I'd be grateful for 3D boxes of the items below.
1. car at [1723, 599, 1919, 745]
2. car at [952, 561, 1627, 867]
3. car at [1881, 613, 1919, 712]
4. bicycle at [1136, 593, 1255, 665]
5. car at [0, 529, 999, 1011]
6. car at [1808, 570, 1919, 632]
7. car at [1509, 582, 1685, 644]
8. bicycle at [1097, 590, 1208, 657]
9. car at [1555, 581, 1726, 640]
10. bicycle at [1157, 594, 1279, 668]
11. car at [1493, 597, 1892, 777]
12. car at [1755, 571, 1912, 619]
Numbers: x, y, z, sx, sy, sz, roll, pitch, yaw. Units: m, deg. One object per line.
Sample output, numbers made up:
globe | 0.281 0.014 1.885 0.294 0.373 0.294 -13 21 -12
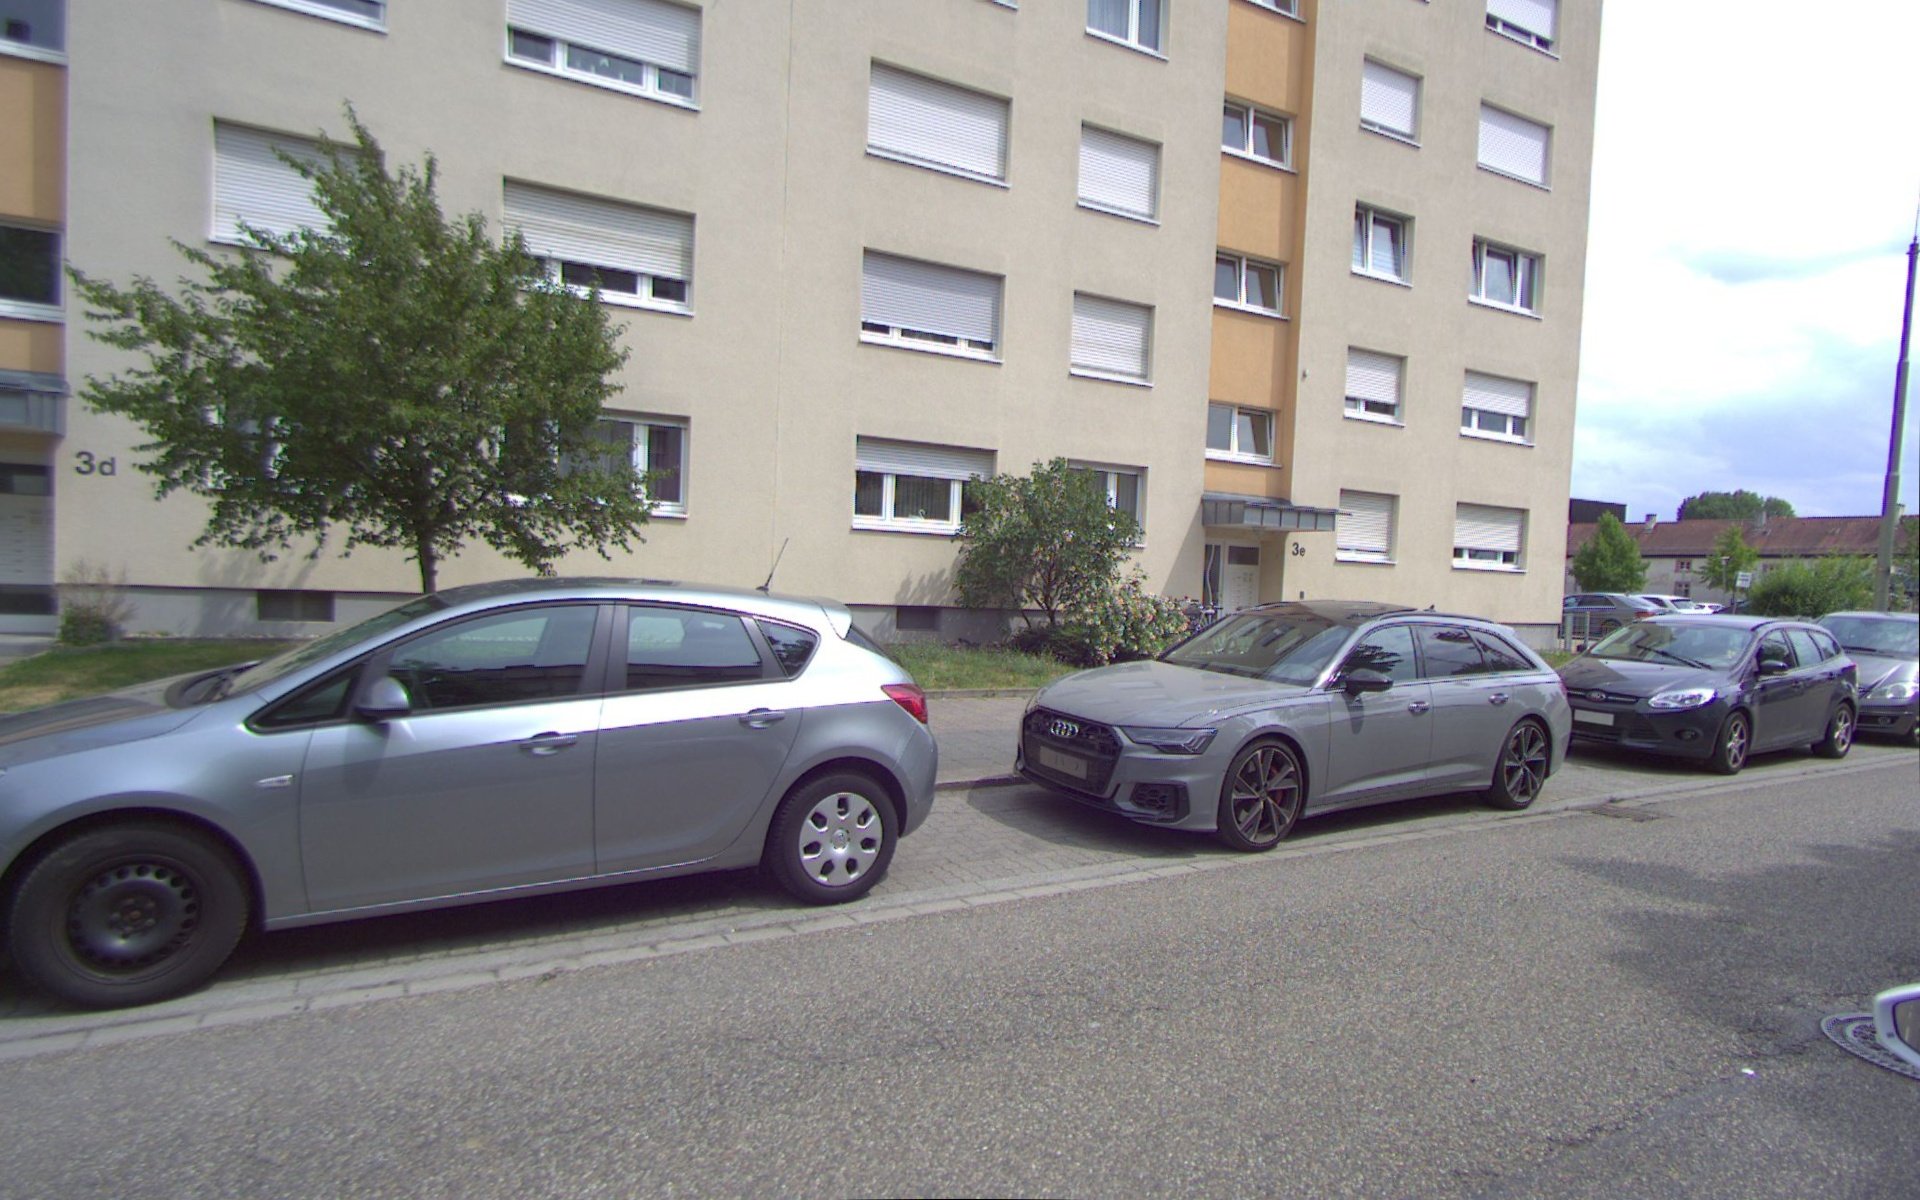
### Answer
car | 12.347 0.883 13.527 4.106 1.600 1.875 2 3 -32
car | 2.648 0.647 7.540 5.160 1.600 1.875 2 3 -32
car | 17.204 1.083 16.292 4.576 1.508 1.878 2 2 -28
bicycle | 3.816 0.460 16.181 2.034 1.100 0.460 1 2 -27
car | -2.200 0.541 4.649 4.541 1.516 1.680 2 3 -31
car | 37.633 0.019 40.793 1.975 2.380 4.390 1 2 -28
car | 19.639 0.358 31.147 1.975 1.707 4.154 1 2 -28
bicycle | 3.349 0.394 17.362 2.035 1.100 0.460 1 2 -29
car | 22.149 0.300 32.868 1.975 1.707 4.154 1 2 -28
bicycle | 4.033 0.470 15.644 2.034 1.100 0.460 1 2 -27
car | 8.052 0.837 10.918 4.731 1.516 1.732 2 3 -31
car | 33.951 -0.225 39.163 1.975 1.707 4.154 1 2 -28
